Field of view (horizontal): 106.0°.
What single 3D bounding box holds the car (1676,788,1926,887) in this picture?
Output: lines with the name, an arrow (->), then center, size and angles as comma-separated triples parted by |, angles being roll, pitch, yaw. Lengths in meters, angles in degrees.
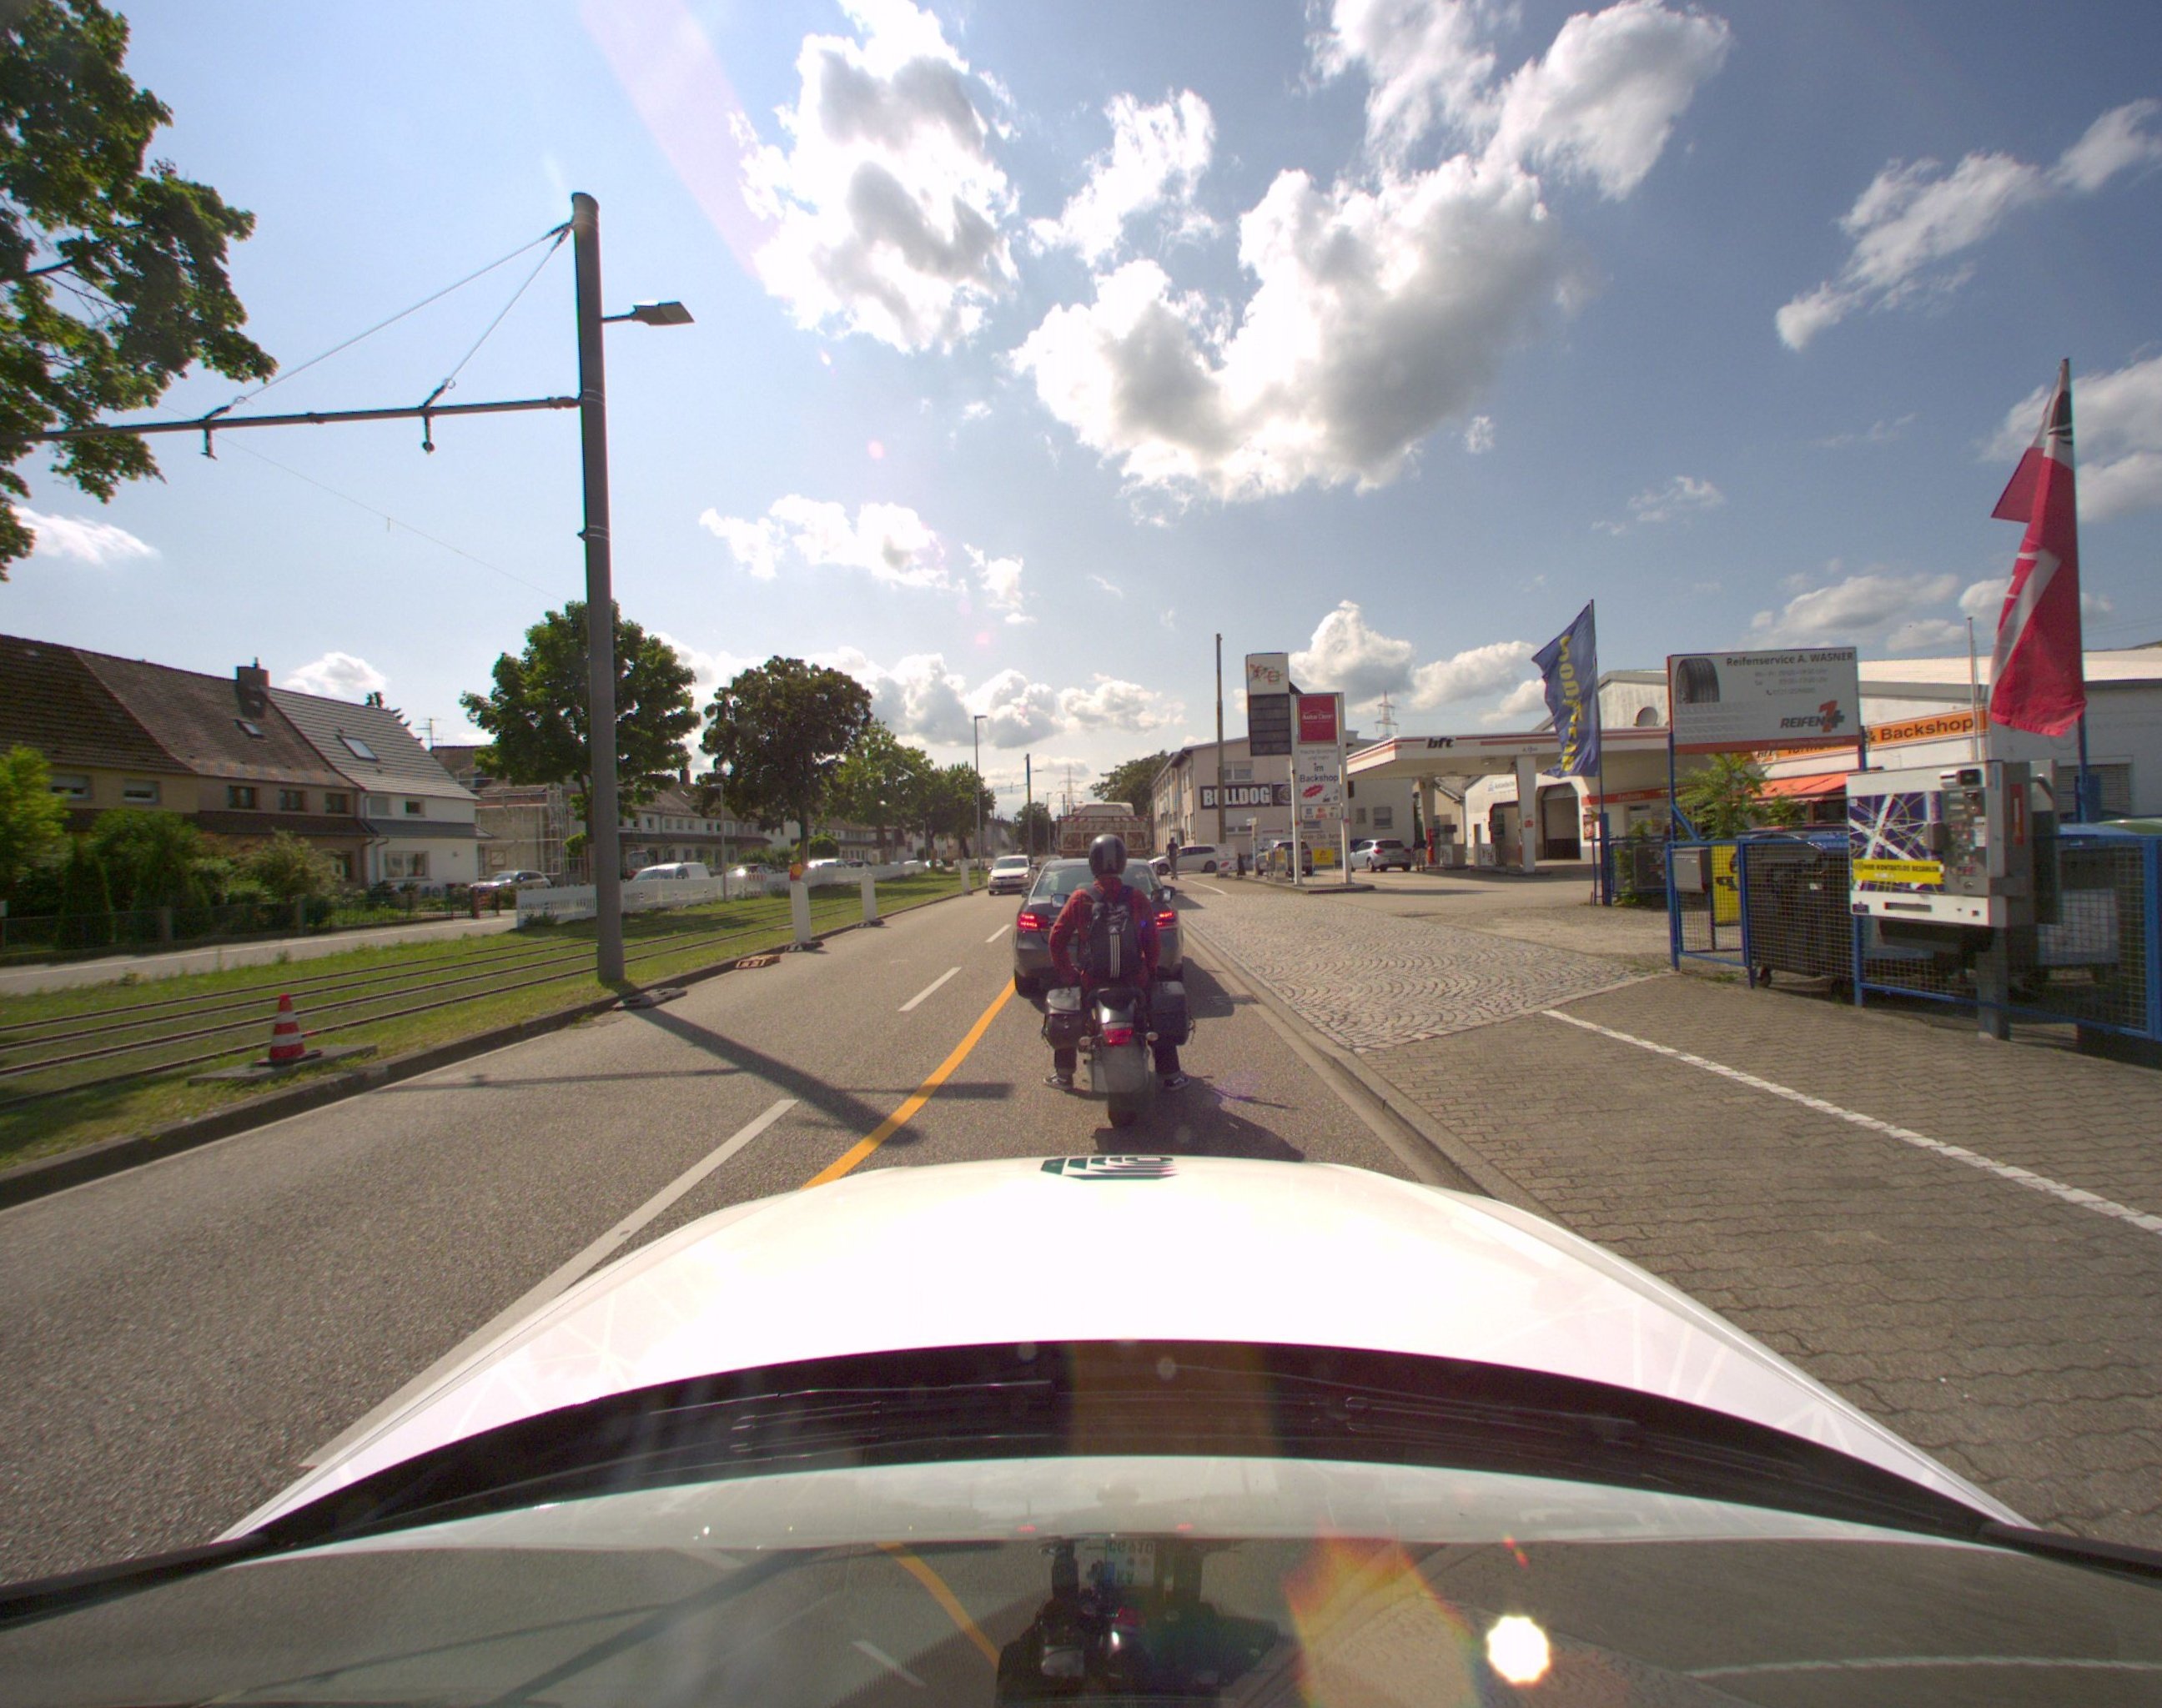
car -> 16.603, -0.375, 18.965 | 3.972, 2.013, 2.001 | -2, 0, 1

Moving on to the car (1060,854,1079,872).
car -> -1.115, 0.873, 80.460 | 1.674, 1.624, 4.120 | -2, 0, 1

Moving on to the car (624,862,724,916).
car -> -15.416, 1.275, 31.061 | 1.692, 1.817, 3.862 | -2, 0, 2

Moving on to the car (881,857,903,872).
car -> -24.374, 1.341, 105.370 | 1.692, 1.739, 4.064 | -2, 0, 2

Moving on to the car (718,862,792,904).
car -> -15.323, 1.322, 38.492 | 1.692, 1.739, 4.056 | -2, 0, 2

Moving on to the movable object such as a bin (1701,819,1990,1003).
movable object such as a bin -> 6.826, 0.466, 7.408 | 1.222, 1.454, 1.455 | -2, 0, 0

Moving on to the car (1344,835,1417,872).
car -> 13.540, -0.027, 37.073 | 1.826, 1.479, 4.009 | -3, 0, 1

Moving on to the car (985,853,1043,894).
car -> -2.562, 0.728, 32.051 | 1.709, 1.413, 4.264 | -2, 0, 2

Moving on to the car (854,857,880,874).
car -> -24.461, 1.299, 93.144 | 1.692, 1.739, 4.064 | -2, 0, 2

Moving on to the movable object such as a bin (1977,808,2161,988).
movable object such as a bin -> 9.451, 0.331, 7.194 | 1.425, 1.454, 1.455 | -2, 0, 0

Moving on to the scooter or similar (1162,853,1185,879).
scooter or similar -> 4.231, 0.542, 37.404 | 0.793, 1.144, 1.518 | -2, 0, -2

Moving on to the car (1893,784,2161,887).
car -> 21.251, -0.405, 18.273 | 3.972, 2.013, 2.001 | -2, 0, 1

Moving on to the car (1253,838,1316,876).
car -> 9.070, 0.118, 36.580 | 1.826, 1.536, 4.009 | -3, 0, 1

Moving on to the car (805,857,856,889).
car -> -15.110, 1.110, 49.397 | 1.692, 1.739, 3.862 | -2, 0, 2

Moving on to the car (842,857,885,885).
car -> -14.865, 1.137, 55.763 | 1.692, 1.739, 3.862 | -2, 0, 2

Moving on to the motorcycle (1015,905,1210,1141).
motorcycle -> 0.196, 0.928, 5.317 | 0.972, 1.013, 2.433 | -1, 0, 2

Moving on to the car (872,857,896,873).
car -> -24.045, 1.333, 99.346 | 1.692, 1.739, 4.064 | -2, 0, 2

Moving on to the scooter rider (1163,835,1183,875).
scooter rider -> 4.211, 0.047, 37.324 | 0.793, 1.818, 0.508 | -2, 0, -3

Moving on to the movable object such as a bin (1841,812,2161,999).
movable object such as a bin -> 8.105, 0.412, 7.284 | 1.222, 1.454, 1.455 | -2, 0, 0

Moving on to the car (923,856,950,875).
car -> -14.190, 1.149, 80.186 | 1.692, 1.739, 3.862 | -2, 0, 2

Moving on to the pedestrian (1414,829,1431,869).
pedestrian -> 14.844, -0.214, 35.392 | 0.628, 1.683, 0.626 | -2, 0, 23

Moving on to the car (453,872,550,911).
car -> -27.477, 1.728, 38.798 | 1.692, 1.593, 3.862 | -2, 0, 2

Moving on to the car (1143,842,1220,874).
car -> 5.768, 0.224, 47.053 | 4.100, 1.624, 1.682 | -3, 0, -7

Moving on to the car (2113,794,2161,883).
car -> 26.354, -0.438, 18.189 | 3.972, 2.013, 2.001 | -2, 0, 1

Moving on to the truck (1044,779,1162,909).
truck -> 0.644, -0.285, 25.608 | 2.960, 3.304, 8.407 | -2, 0, 1

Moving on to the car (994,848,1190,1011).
car -> 0.135, 0.720, 9.837 | 1.826, 1.479, 4.009 | -3, 0, 1

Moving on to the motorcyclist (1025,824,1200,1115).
motorcyclist -> 0.195, 0.650, 5.200 | 0.966, 1.633, 1.215 | -1, 0, 1
